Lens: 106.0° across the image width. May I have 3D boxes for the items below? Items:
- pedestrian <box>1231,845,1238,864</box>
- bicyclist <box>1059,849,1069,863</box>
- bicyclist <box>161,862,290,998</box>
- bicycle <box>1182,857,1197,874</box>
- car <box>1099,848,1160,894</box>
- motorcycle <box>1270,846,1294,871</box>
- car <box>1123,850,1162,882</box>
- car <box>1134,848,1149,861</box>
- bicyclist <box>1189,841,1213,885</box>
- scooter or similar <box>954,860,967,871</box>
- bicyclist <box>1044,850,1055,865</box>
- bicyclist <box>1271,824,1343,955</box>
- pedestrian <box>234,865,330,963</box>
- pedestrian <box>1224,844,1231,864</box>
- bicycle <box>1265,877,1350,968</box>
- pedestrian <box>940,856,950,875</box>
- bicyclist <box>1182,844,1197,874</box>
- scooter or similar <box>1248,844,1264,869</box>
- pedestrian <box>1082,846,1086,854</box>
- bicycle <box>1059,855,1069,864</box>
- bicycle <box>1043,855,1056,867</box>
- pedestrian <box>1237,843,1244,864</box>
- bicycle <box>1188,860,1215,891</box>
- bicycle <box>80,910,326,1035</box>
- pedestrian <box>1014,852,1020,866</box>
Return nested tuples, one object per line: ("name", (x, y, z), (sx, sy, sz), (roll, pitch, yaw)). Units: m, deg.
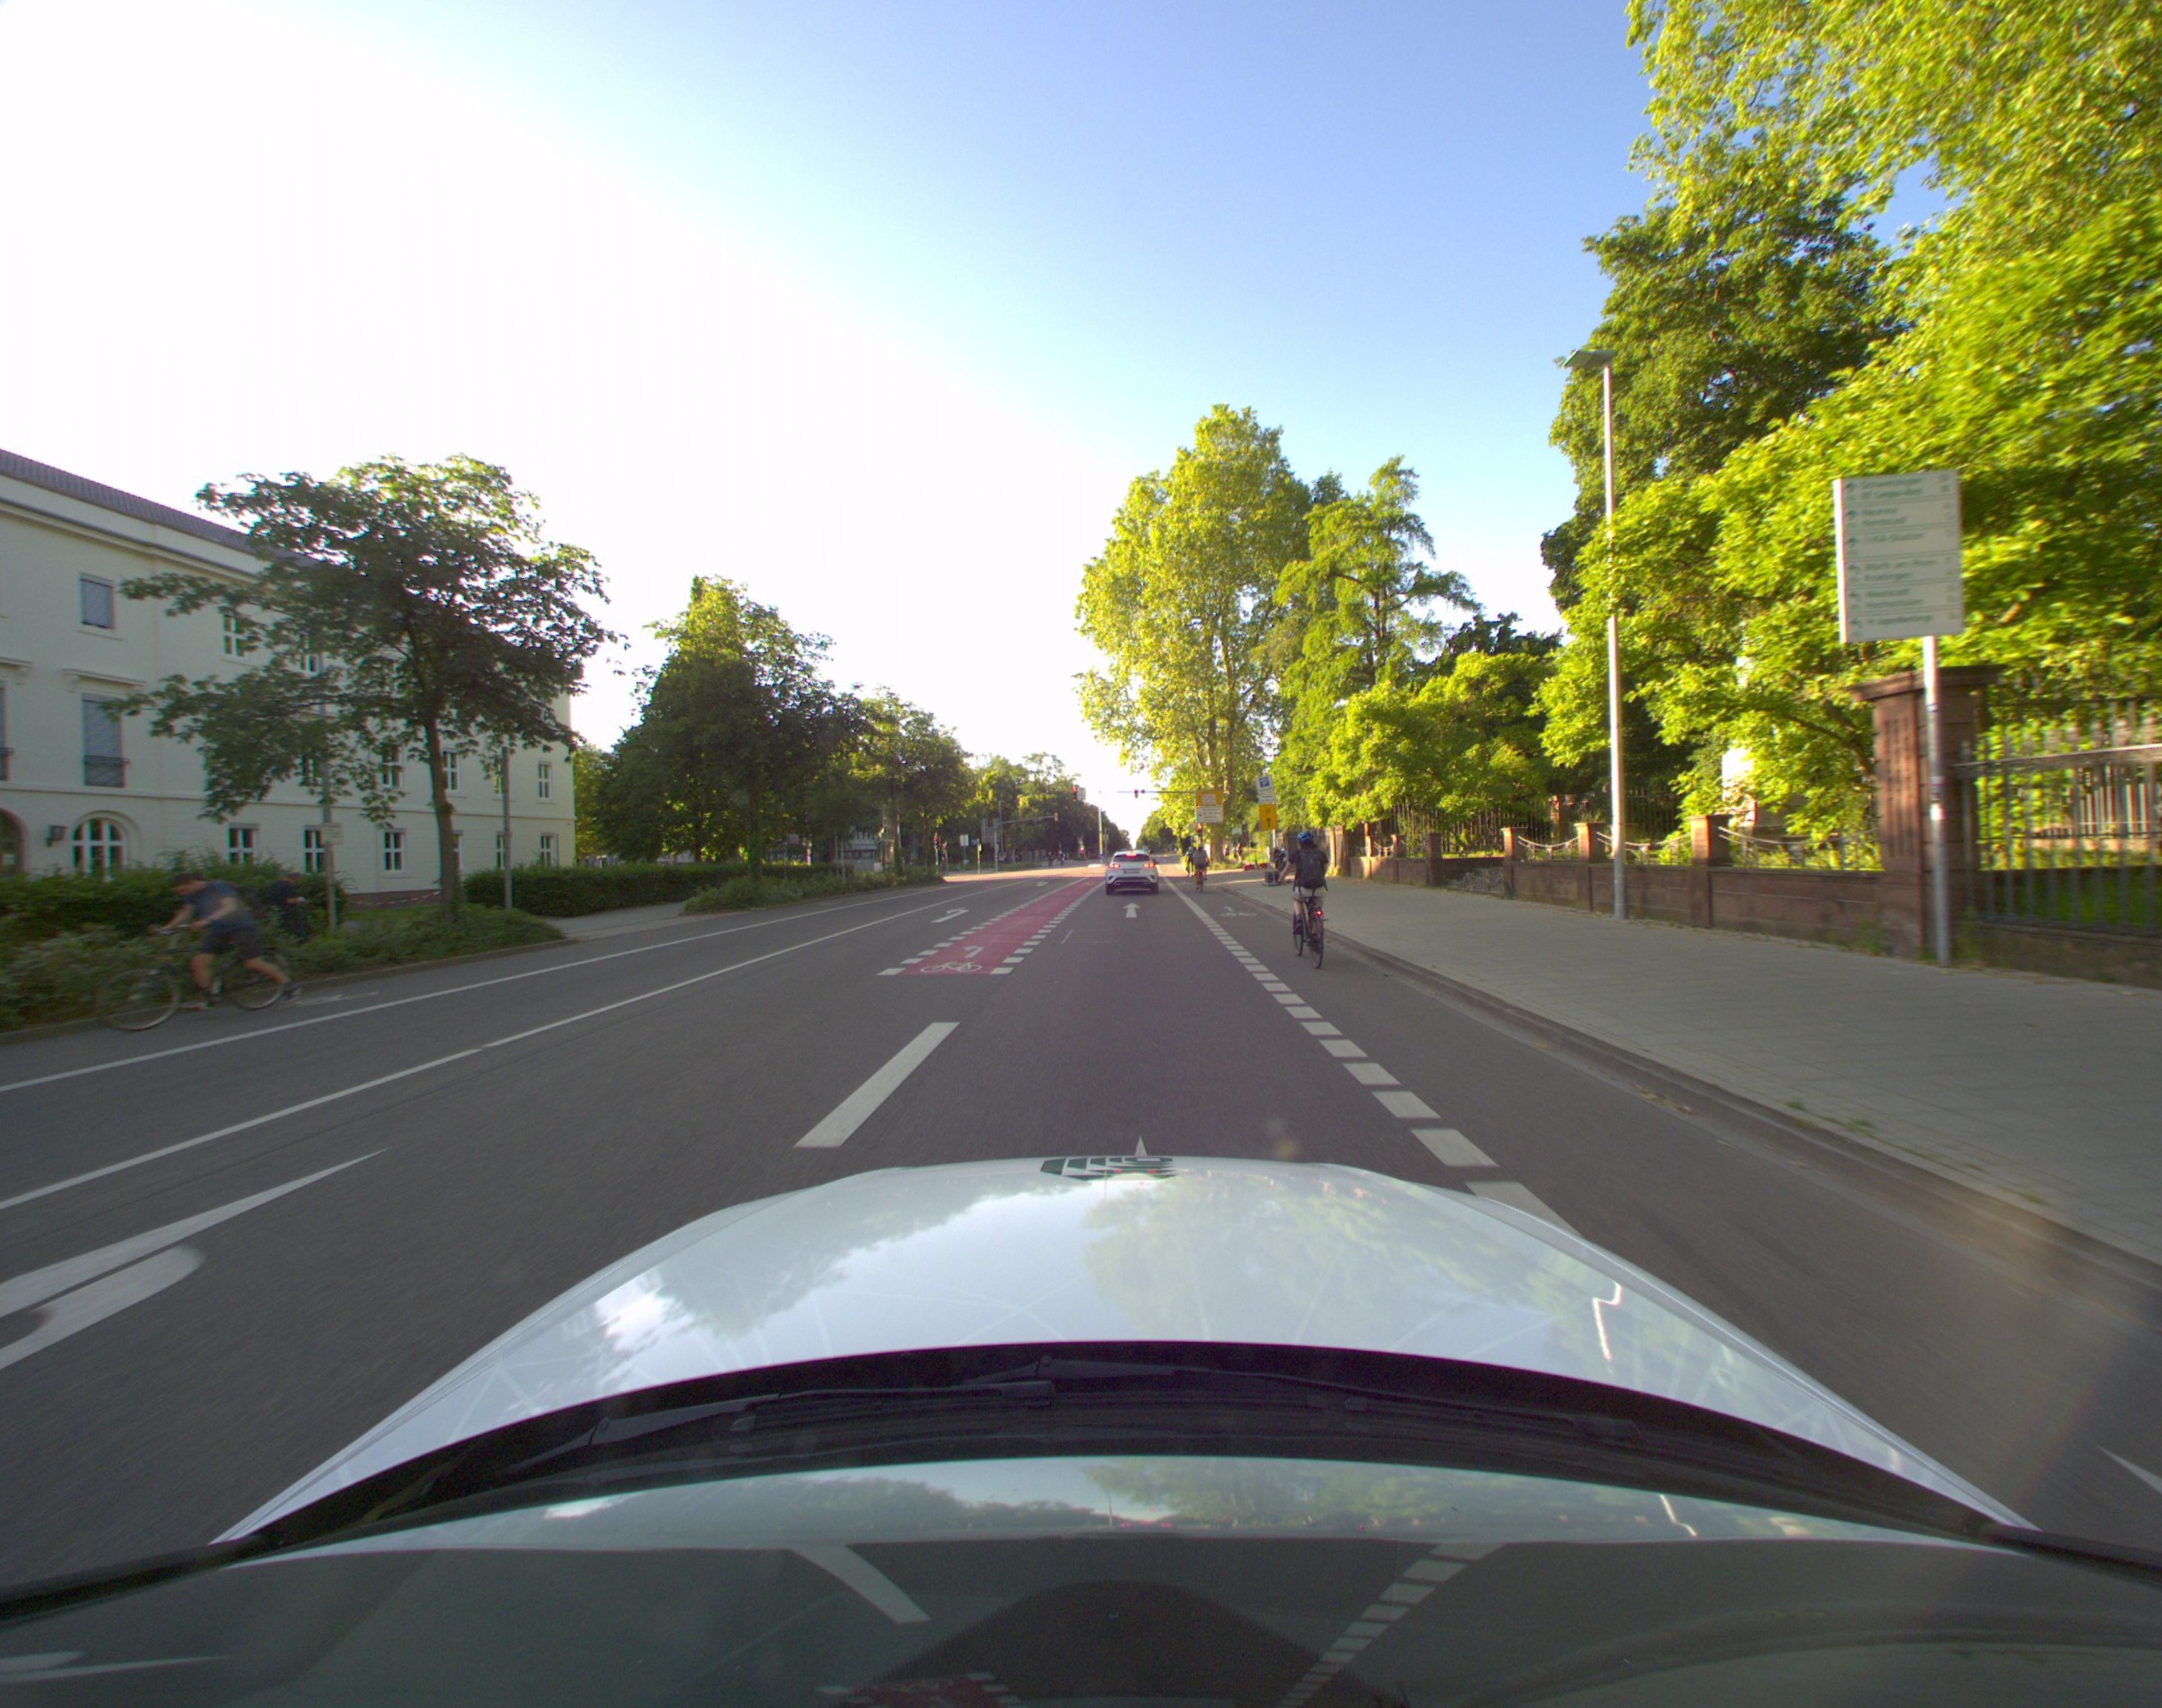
("pedestrian", (13.816, 0.006, 73.474), (0.479, 1.640, 0.433), (-5, 3, 10))
("bicyclist", (-2.185, 0.263, 104.773), (0.951, 1.705, 1.234), (-3, 0, 5))
("bicyclist", (-10.312, 0.888, 9.843), (0.627, 1.522, 0.725), (-5, 0, 1))
("bicycle", (6.442, 0.677, 48.415), (0.750, 1.026, 1.871), (-1, -1, 3))
("car", (1.746, 0.568, 29.342), (1.985, 1.453, 4.004), (-3, 0, 3))
("motorcycle", (9.969, 0.217, 40.425), (0.659, 1.167, 2.329), (-5, 0, 3))
("car", (3.246, 0.584, 43.582), (1.921, 1.533, 4.004), (-3, 0, 3))
("car", (8.120, 0.048, 108.833), (1.727, 1.546, 4.008), (-3, 0, 7))
("bicyclist", (4.242, 0.310, 28.849), (0.744, 1.537, 0.970), (-2, 0, 3))
("scooter or similar", (-13.283, 1.255, 89.893), (0.506, 1.144, 1.710), (-3, 0, 25))
("bicyclist", (-3.594, 0.391, 93.498), (1.087, 1.754, 1.099), (-3, 0, 5))
("bicyclist", (2.958, 0.441, 10.771), (0.633, 1.614, 1.285), (-2, 0, 3))
("pedestrian", (-16.095, 1.181, 16.431), (0.852, 1.851, 1.002), (-3, 0, 2))
("pedestrian", (13.206, 0.012, 73.412), (0.479, 1.792, 0.433), (-5, 3, 10))
("bicycle", (2.991, 0.862, 10.976), (0.640, 1.024, 2.214), (-1, 0, 3))
("pedestrian", (-13.494, 1.099, 80.794), (0.684, 1.792, 0.770), (-5, 0, 3))
("bicyclist", (6.435, 0.302, 48.239), (0.746, 1.750, 0.844), (-2, 0, 3))
("scooter or similar", (10.123, 0.151, 47.209), (0.564, 1.382, 1.857), (-3, 0, 2))
("pedestrian", (0.865, -0.989, 221.408), (0.869, 2.149, 1.107), (-3, 0, 13))
("bicycle", (-2.175, 0.695, 104.635), (0.959, 1.181, 2.956), (-3, 0, 6))
("bicycle", (-3.576, 0.756, 93.436), (1.096, 1.255, 2.783), (-3, 0, 6))
("pedestrian", (14.528, -0.057, 74.054), (0.479, 1.792, 0.433), (-5, 3, 10))
("bicycle", (4.252, 0.752, 28.874), (0.750, 1.026, 1.871), (-1, -1, 3))
("bicycle", (-10.283, 1.336, 9.684), (0.595, 1.120, 2.027), (-6, 0, 1))
("pedestrian", (-8.776, 0.646, 111.482), (0.648, 1.888, 0.664), (-3, 0, 6))
